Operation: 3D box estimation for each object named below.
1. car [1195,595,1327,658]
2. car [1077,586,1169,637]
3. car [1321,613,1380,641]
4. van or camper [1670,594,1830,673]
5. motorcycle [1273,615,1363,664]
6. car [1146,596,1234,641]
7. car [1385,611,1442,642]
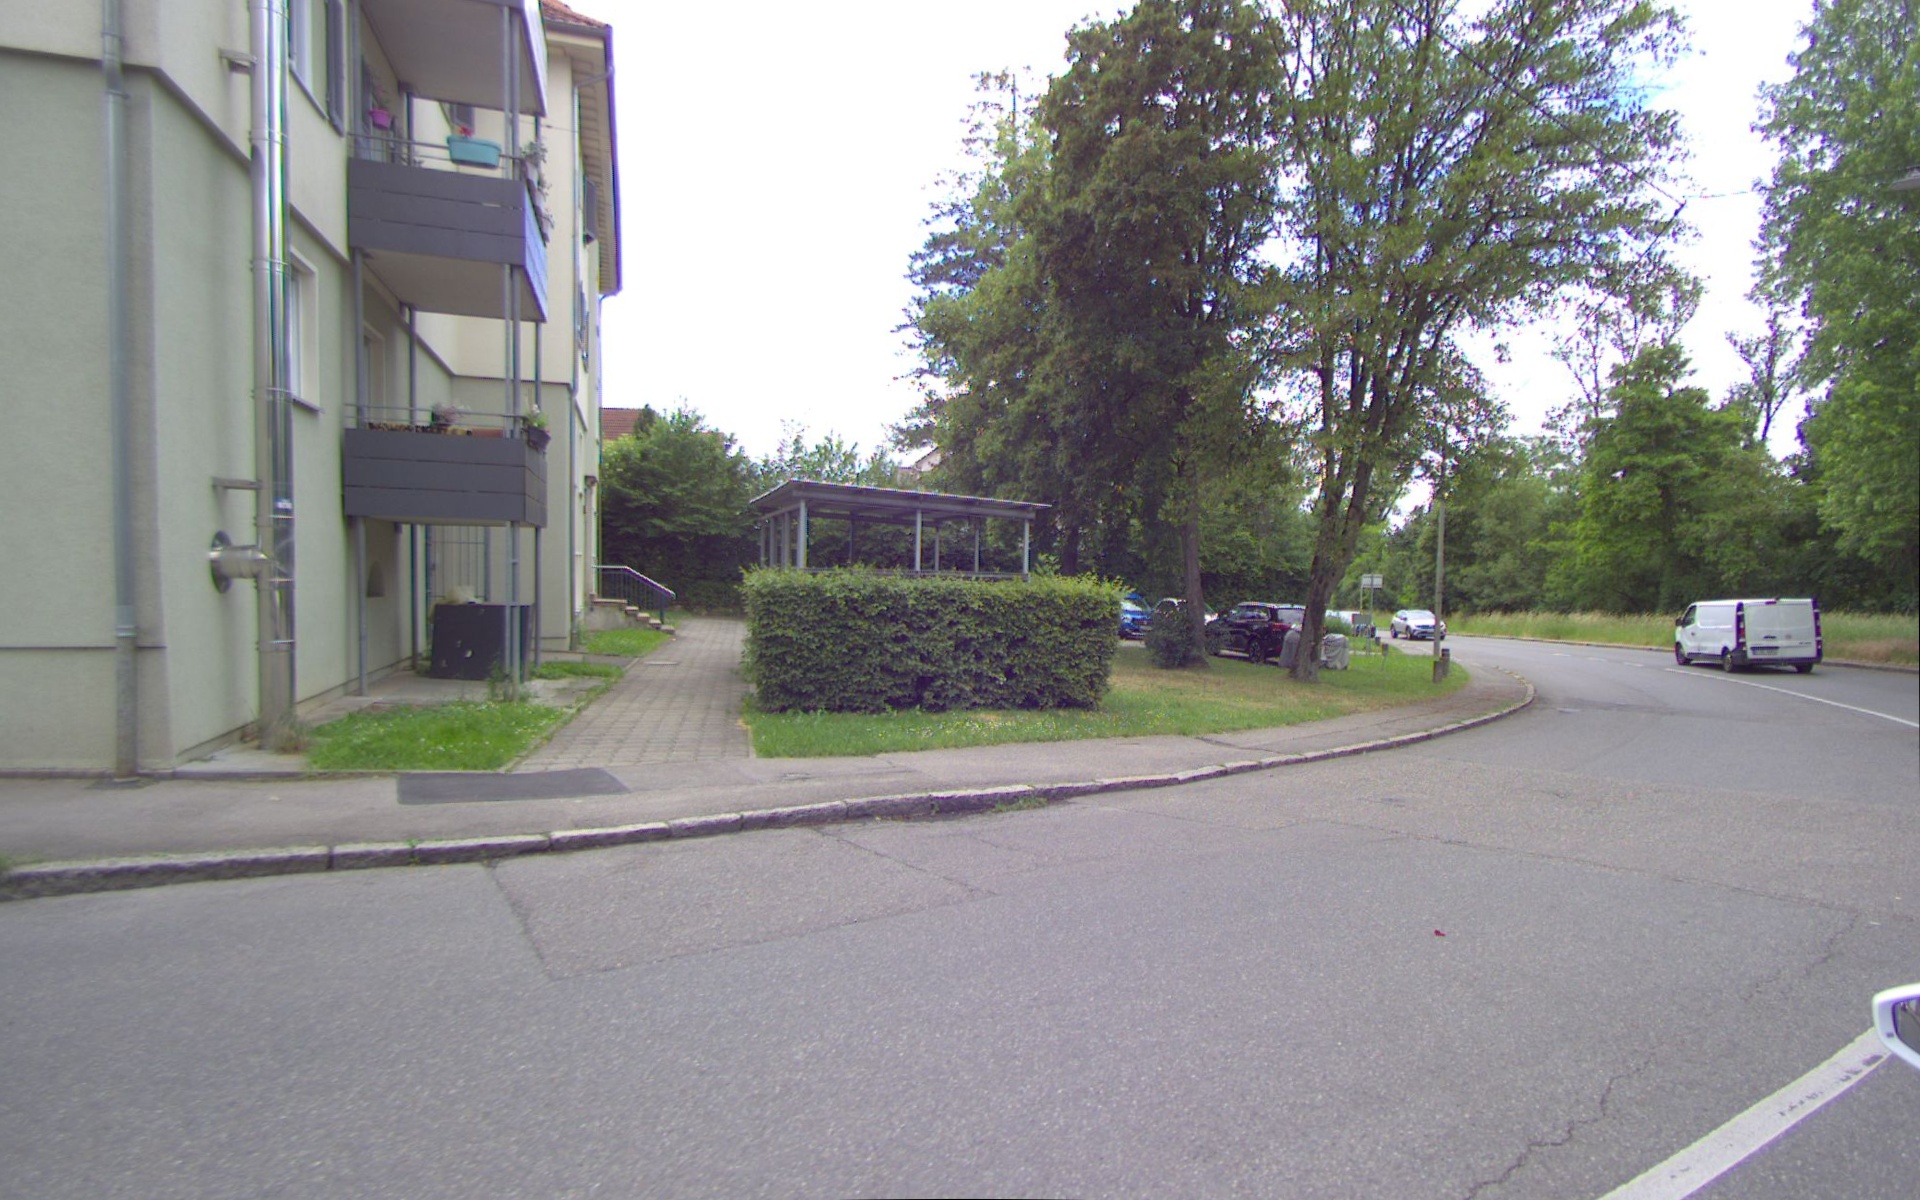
[{"bbox_3d":[8.518,0.691,28.846,1.717,1.615,4.322,2,0,-13],"label":"car"},{"bbox_3d":[6.189,0.412,38.616,1.719,1.755,4.248,2,1,-17],"label":"car"},{"bbox_3d":[21.531,1.483,55.528,1.705,1.437,4.505,0,0,3],"label":"car"},{"bbox_3d":[21.942,0.870,28.171,1.986,1.983,4.896,-2,-1,19],"label":"van or camper"},{"bbox_3d":[9.243,1.016,25.948,2.031,1.167,0.863,2,0,-13],"label":"motorcycle"},{"bbox_3d":[8.842,0.673,39.016,1.716,1.615,4.263,2,0,-11],"label":"car"},{"bbox_3d":[23.323,1.392,51.764,1.695,1.476,4.082,-2,-2,11],"label":"car"}]
